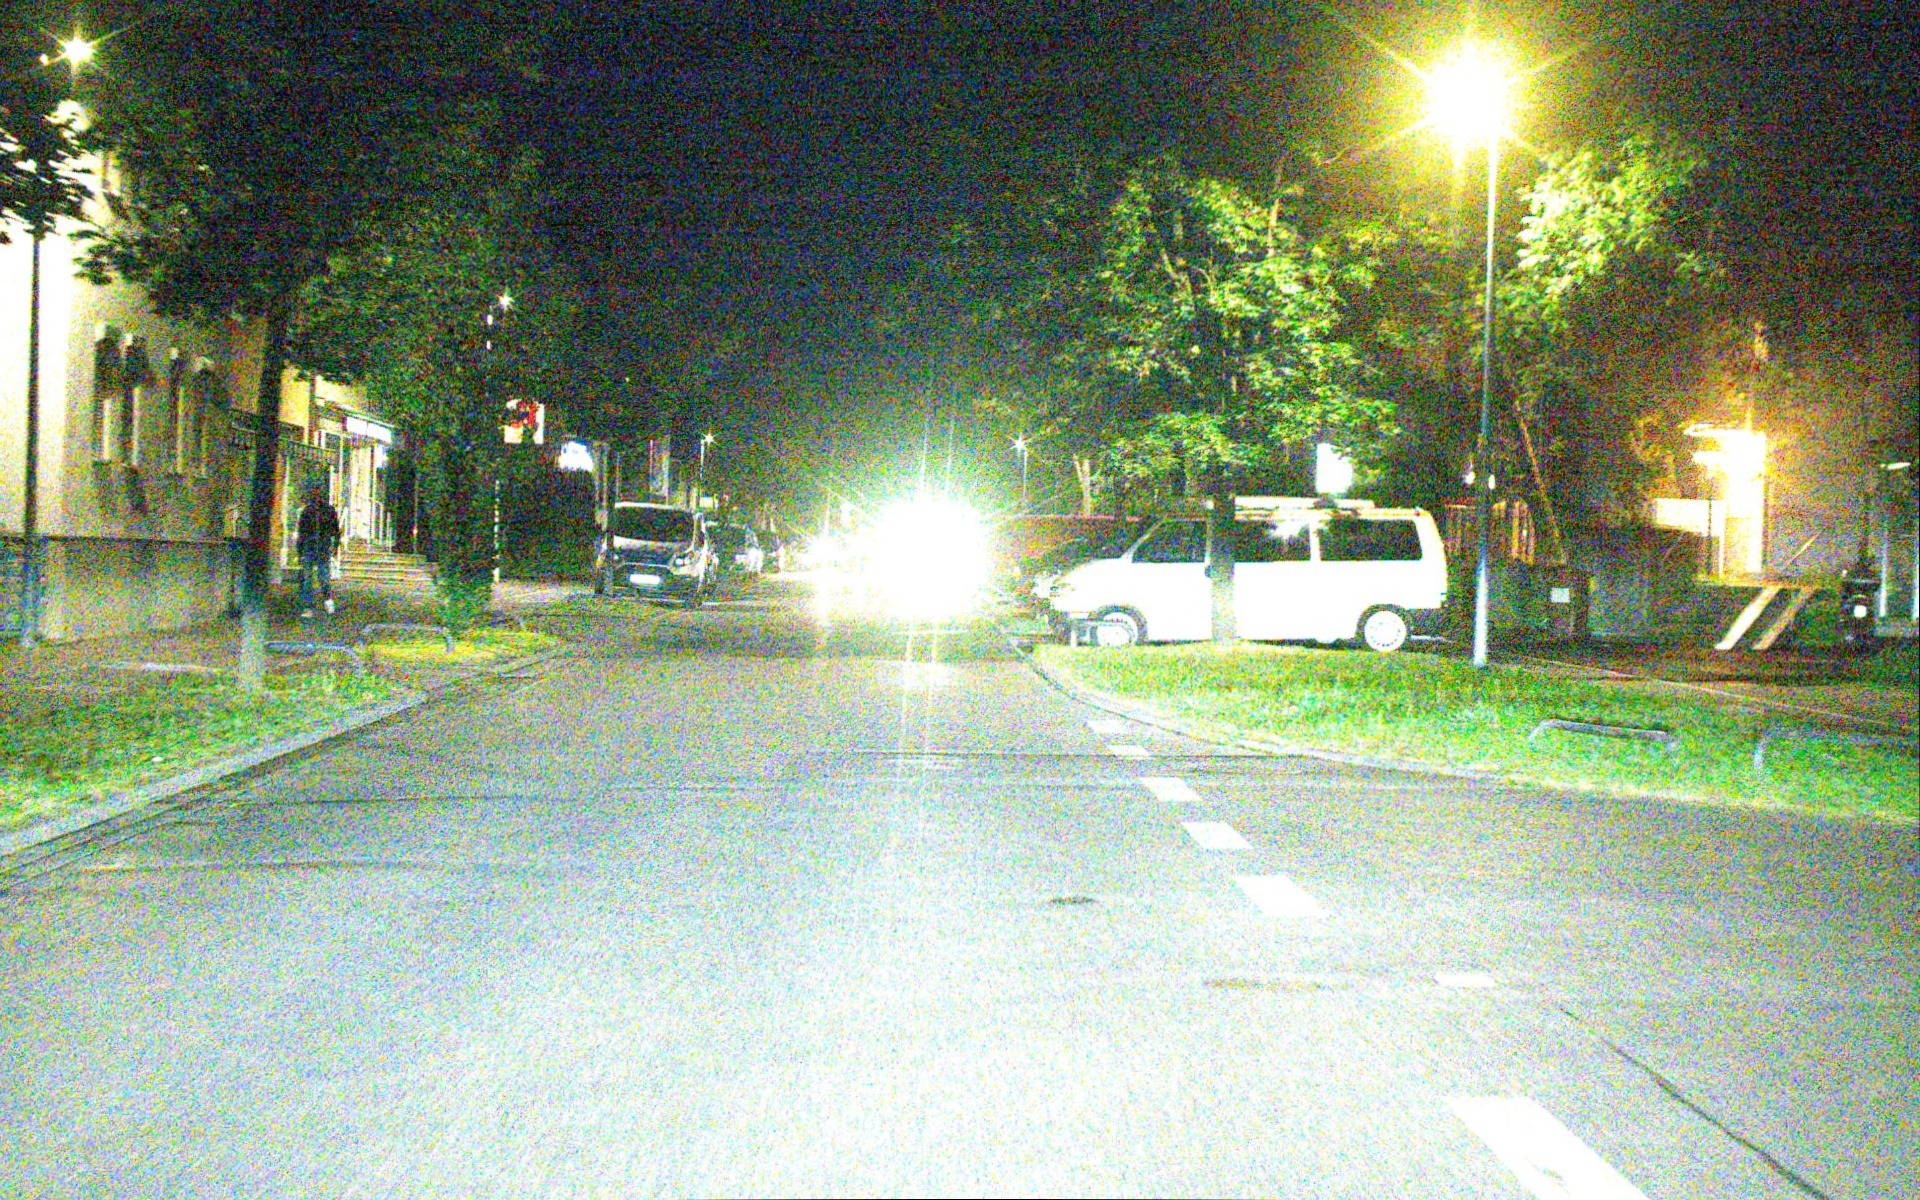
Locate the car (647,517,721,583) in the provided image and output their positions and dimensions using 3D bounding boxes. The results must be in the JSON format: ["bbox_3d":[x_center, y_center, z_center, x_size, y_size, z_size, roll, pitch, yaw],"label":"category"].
[{"bbox_3d":[-6.329,-1.160,79.038,1.534,1.446,3.119,1,1,-2],"label":"car"}]

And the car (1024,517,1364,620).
[{"bbox_3d":[3.659,-0.509,54.481,5.182,1.588,2.102,0,1,-2],"label":"car"}]

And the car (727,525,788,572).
[{"bbox_3d":[-5.888,-1.513,100.397,1.683,1.326,3.600,1,1,-2],"label":"car"}]

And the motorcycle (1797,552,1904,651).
[{"bbox_3d":[12.835,0.003,49.487,1.071,1.322,2.704,2,2,23],"label":"motorcycle"}]

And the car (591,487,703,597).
[{"bbox_3d":[-6.063,-1.148,66.968,1.824,1.979,4.466,3,1,-2],"label":"car"}]

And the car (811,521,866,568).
[{"bbox_3d":[-4.370,-2.013,123.711,1.927,1.643,3.822,0,1,-2],"label":"car"}]

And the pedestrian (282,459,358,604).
[{"bbox_3d":[-9.106,-0.978,48.927,0.785,2.007,1.204,3,1,-1],"label":"pedestrian"}]

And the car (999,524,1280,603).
[{"bbox_3d":[3.386,-0.702,65.486,5.182,1.464,2.102,0,1,-2],"label":"car"}]

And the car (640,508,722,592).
[{"bbox_3d":[-5.979,-1.094,74.012,1.534,1.682,3.212,3,1,-2],"label":"car"}]

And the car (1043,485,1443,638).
[{"bbox_3d":[3.774,-0.538,46.499,5.182,2.007,2.102,0,1,-2],"label":"car"}]

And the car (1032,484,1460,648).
[{"bbox_3d":[3.552,-0.441,43.433,5.182,2.007,2.102,0,1,-2],"label":"car"}]

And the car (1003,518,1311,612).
[{"bbox_3d":[3.393,-0.622,59.971,5.182,1.588,2.102,0,1,-2],"label":"car"}]

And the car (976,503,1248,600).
[{"bbox_3d":[3.038,-0.972,68.126,5.184,1.880,2.101,0,1,9],"label":"car"}]

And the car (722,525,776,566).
[{"bbox_3d":[-7.090,-1.854,115.683,1.683,1.326,3.600,1,1,-2],"label":"car"}]
